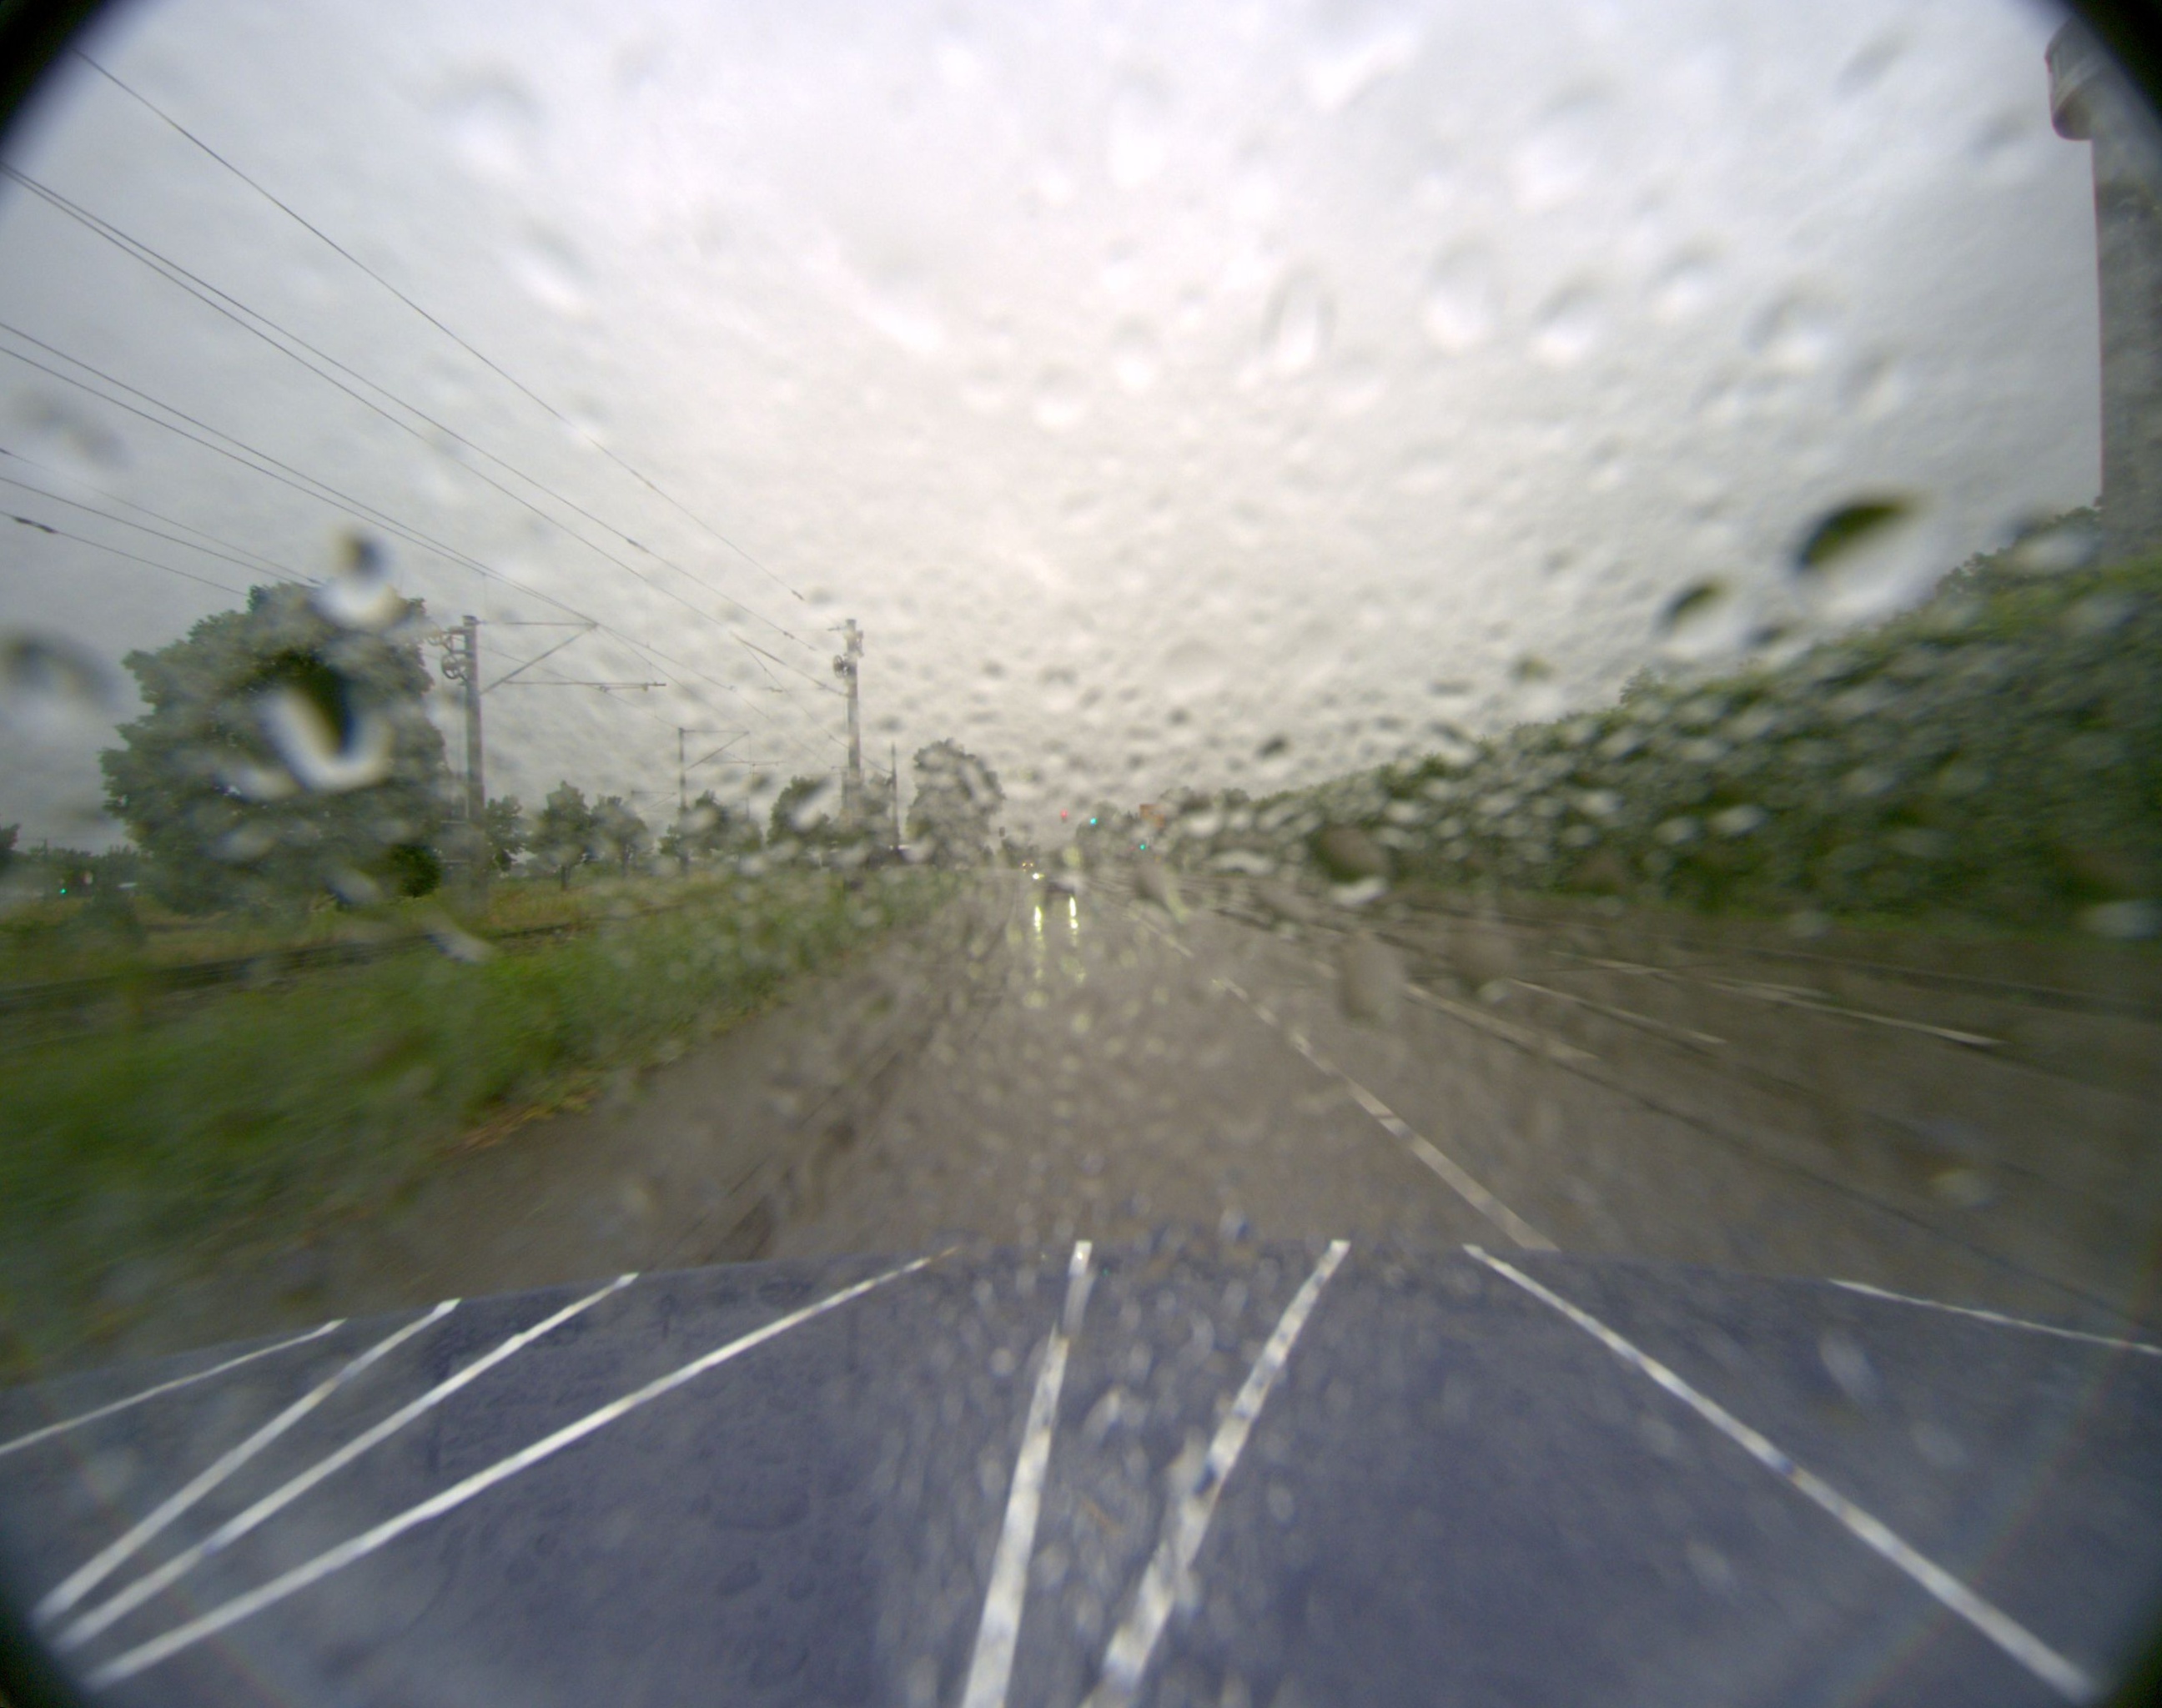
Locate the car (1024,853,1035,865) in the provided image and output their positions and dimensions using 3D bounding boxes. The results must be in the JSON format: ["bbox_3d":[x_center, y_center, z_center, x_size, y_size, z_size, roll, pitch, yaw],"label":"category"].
[{"bbox_3d":[-9.241,0.919,137.072,1.921,2.002,3.998,-2,1,-4],"label":"car"}]

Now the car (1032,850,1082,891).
[{"bbox_3d":[-1.138,0.683,33.803,1.999,1.622,3.998,-2,1,-4],"label":"car"}]

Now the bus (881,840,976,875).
[{"bbox_3d":[-15.061,0.370,74.505,9.967,3.059,2.683,-2,1,33],"label":"bus"}]

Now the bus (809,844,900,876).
[{"bbox_3d":[-23.778,0.639,79.559,9.969,3.059,2.683,-2,1,27],"label":"bus"}]

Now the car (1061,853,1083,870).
[{"bbox_3d":[-0.888,0.714,72.481,1.767,1.528,3.874,-1,0,-6],"label":"car"}]
